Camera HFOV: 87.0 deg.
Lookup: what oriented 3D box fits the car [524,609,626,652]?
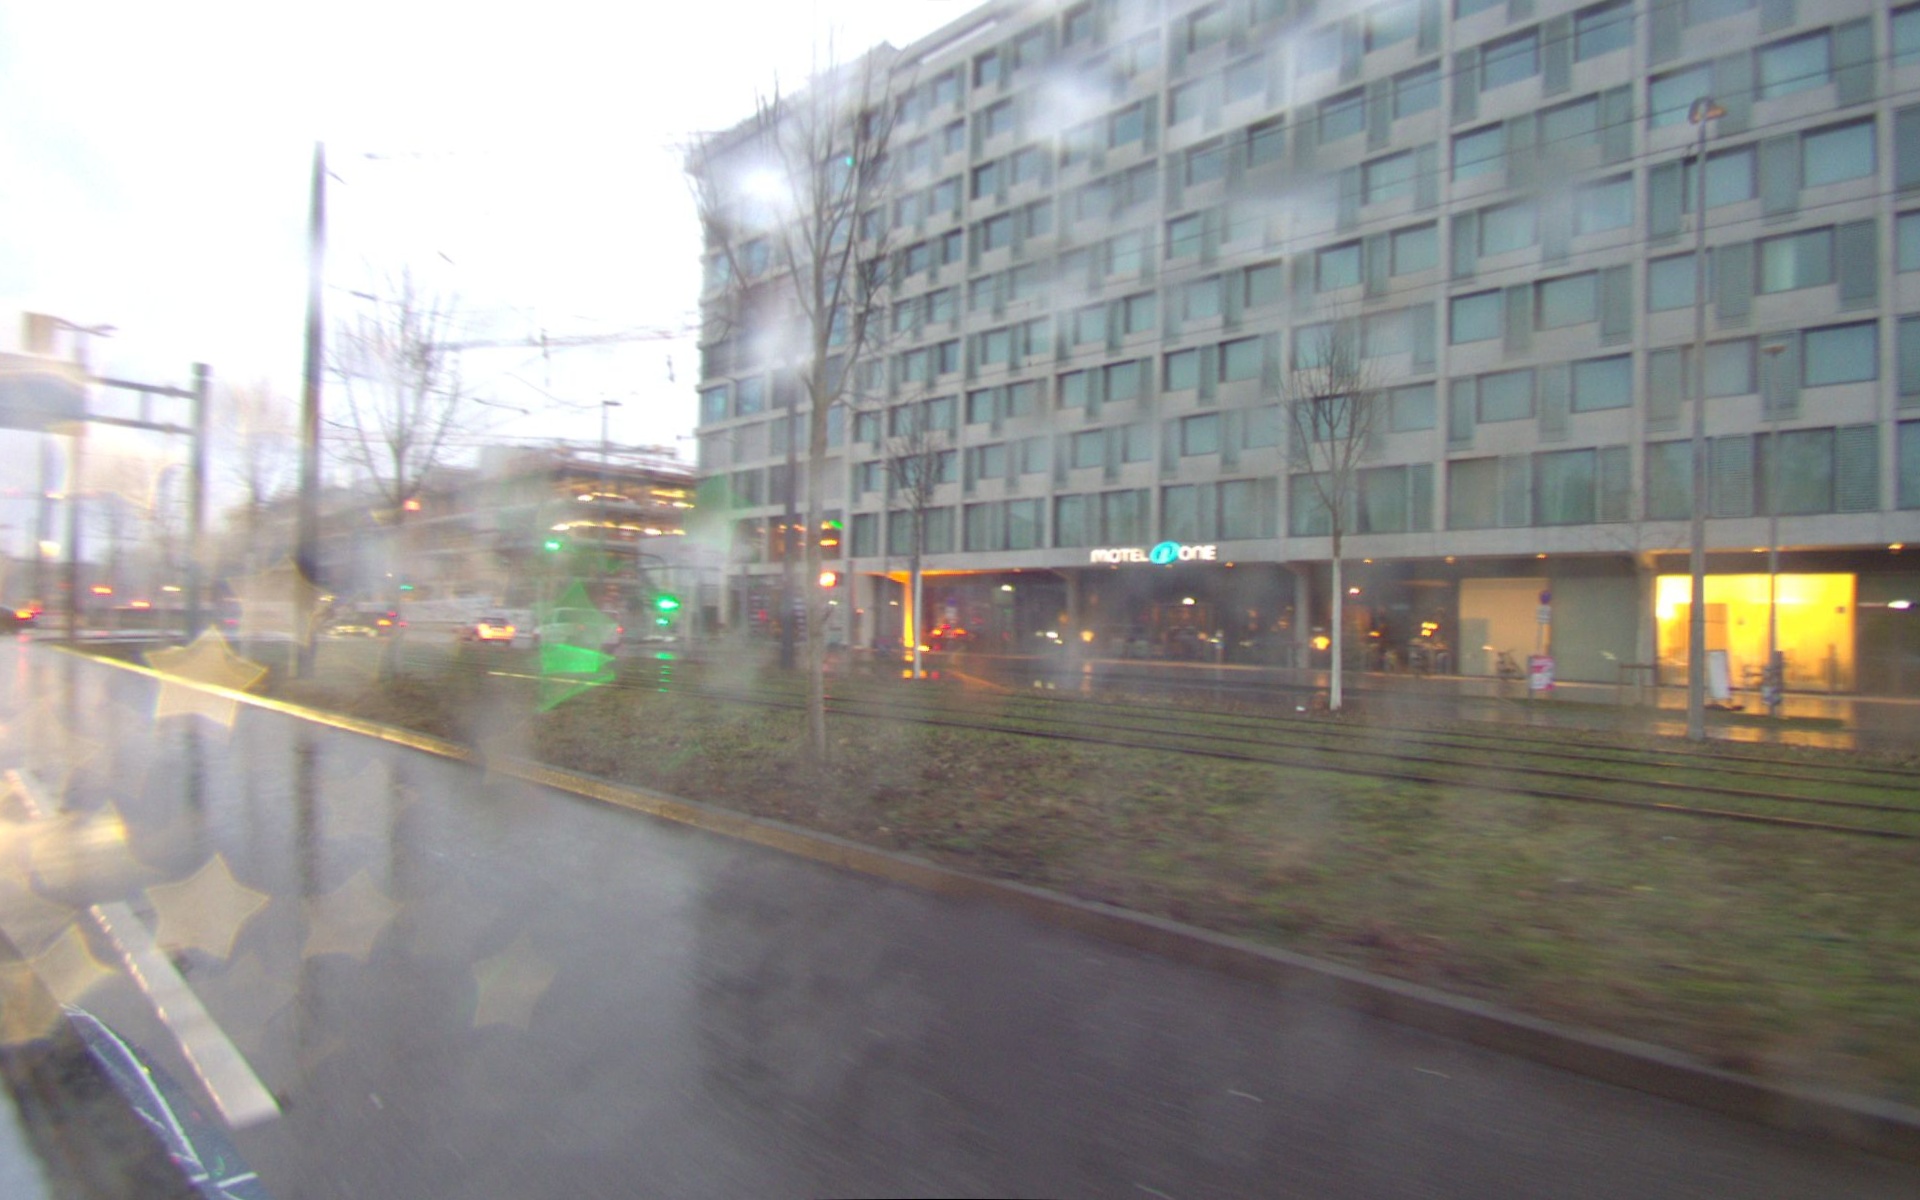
[{"bbox_3d":[-15.890,1.229,41.602,2.057,1.682,5.047,3,-2,-44],"label":"car"}]

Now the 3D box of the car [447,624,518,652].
[{"bbox_3d":[-23.589,1.858,49.937,4.001,1.317,1.791,0,-2,44],"label":"car"}]

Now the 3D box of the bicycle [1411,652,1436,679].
[{"bbox_3d":[16.407,2.310,35.821,0.465,0.860,1.331,0,0,41],"label":"bicycle"}]

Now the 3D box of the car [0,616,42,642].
[{"bbox_3d":[-48.239,1.427,50.188,3.939,1.284,1.820,3,-2,-43],"label":"car"}]

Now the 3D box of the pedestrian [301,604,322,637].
[{"bbox_3d":[-36.051,1.126,56.278,0.766,1.818,0.704,0,0,26],"label":"pedestrian"}]

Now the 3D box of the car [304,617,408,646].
[{"bbox_3d":[-31.401,1.648,52.739,4.187,1.411,2.117,1,-2,-12],"label":"car"}]

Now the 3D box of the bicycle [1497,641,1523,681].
[{"bbox_3d":[18.678,2.052,34.340,0.465,1.247,1.519,0,0,41],"label":"bicycle"}]

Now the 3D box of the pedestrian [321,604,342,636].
[{"bbox_3d":[-35.236,1.116,56.752,0.765,1.818,0.704,0,0,25],"label":"pedestrian"}]
